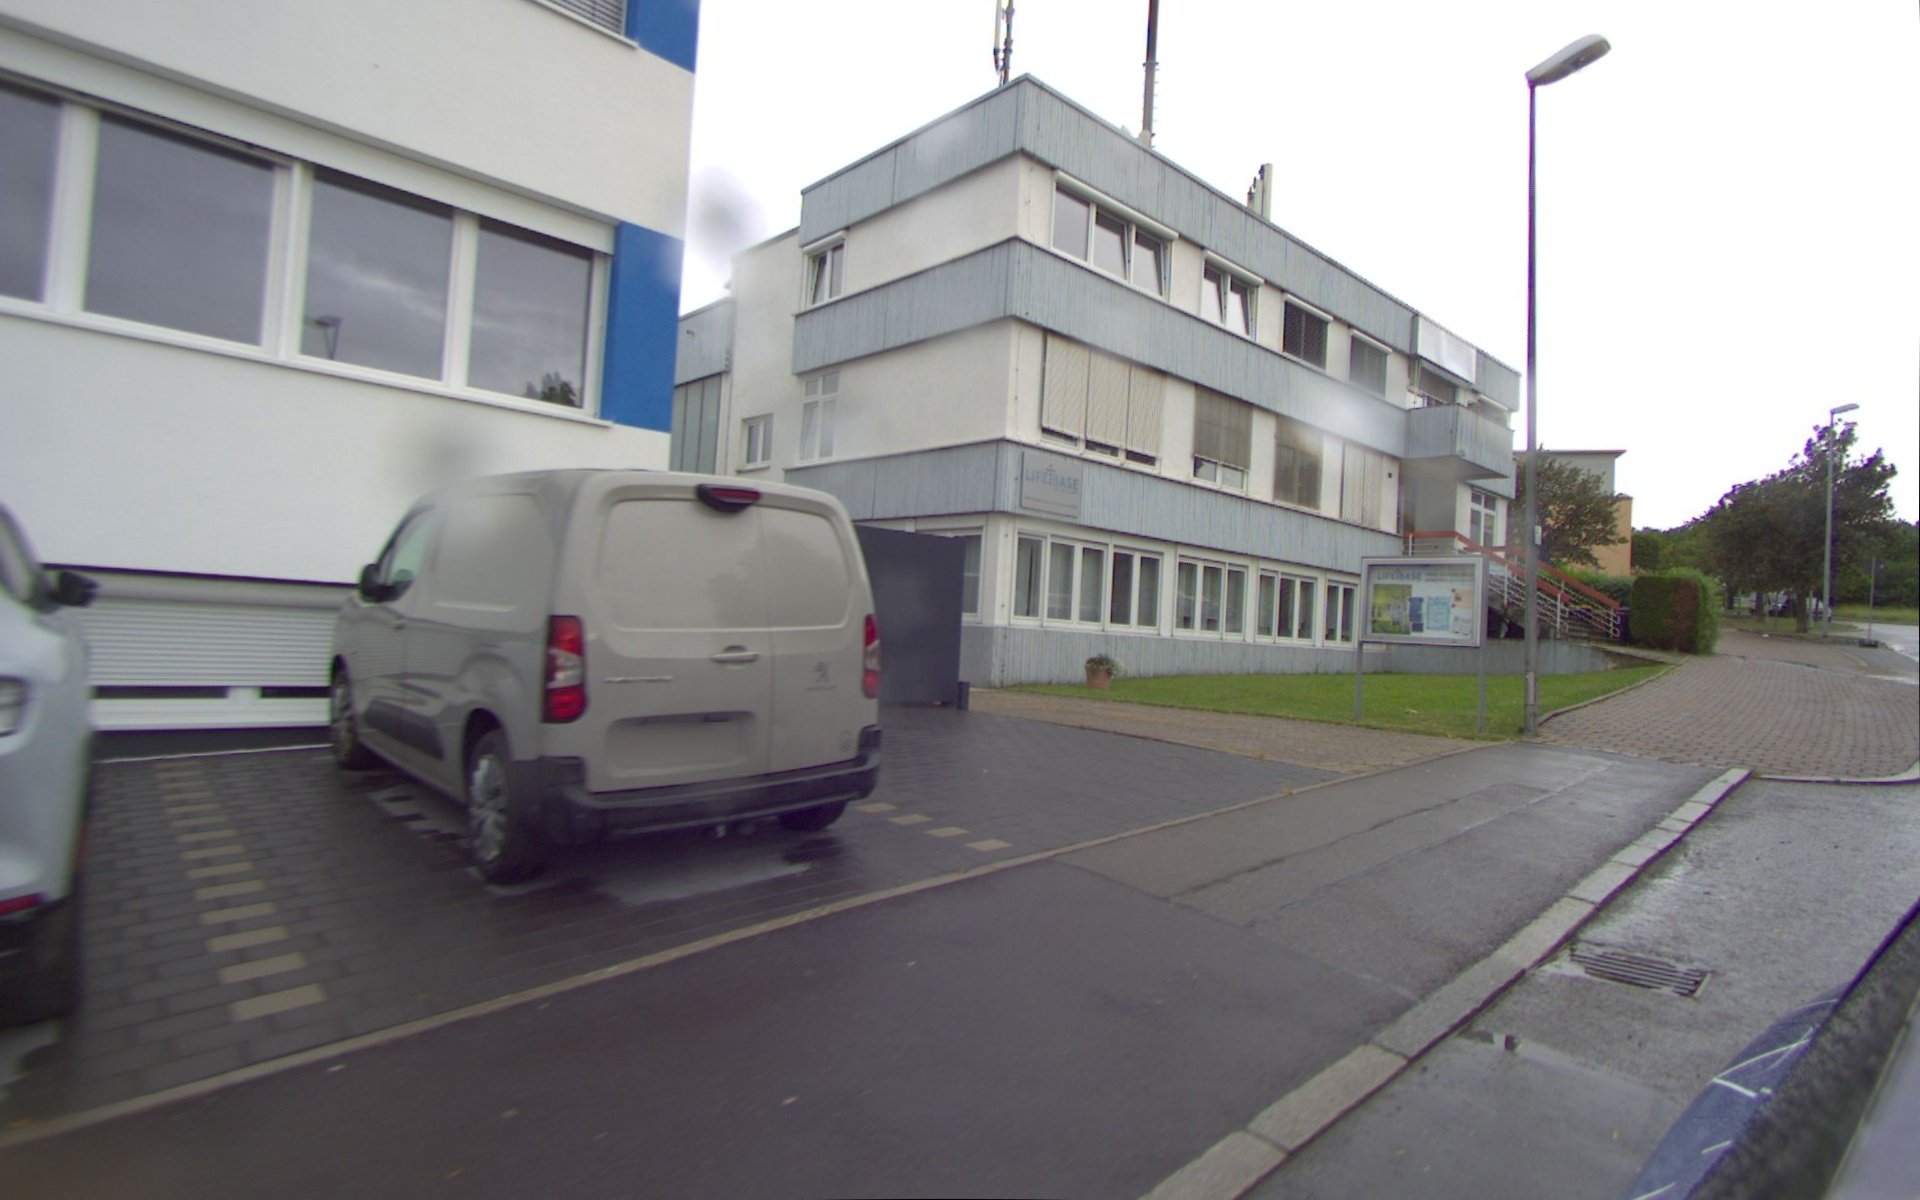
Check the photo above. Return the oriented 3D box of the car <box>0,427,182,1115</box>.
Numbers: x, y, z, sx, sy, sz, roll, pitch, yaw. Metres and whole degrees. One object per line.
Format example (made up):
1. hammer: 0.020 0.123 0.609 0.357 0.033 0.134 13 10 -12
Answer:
1. car: -4.207 0.255 3.512 2.043 1.557 4.605 0 3 -42

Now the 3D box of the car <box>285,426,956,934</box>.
1. car: -2.265 0.202 5.874 2.054 1.795 4.346 0 2 -43

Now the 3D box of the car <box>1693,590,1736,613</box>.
1. car: 65.782 0.073 88.261 1.801 1.807 3.798 1 2 18

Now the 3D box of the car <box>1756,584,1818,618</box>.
1. car: 60.489 0.030 74.129 2.031 2.360 5.366 1 1 22

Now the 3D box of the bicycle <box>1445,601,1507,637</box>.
1. bicycle: 13.935 0.501 27.363 1.456 0.913 0.284 1 1 25

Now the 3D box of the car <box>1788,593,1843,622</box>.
1. car: 57.992 0.463 68.700 1.800 1.748 4.608 2 2 27

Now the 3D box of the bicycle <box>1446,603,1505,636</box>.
1. bicycle: 14.061 0.531 27.633 1.406 0.840 0.284 1 1 25
